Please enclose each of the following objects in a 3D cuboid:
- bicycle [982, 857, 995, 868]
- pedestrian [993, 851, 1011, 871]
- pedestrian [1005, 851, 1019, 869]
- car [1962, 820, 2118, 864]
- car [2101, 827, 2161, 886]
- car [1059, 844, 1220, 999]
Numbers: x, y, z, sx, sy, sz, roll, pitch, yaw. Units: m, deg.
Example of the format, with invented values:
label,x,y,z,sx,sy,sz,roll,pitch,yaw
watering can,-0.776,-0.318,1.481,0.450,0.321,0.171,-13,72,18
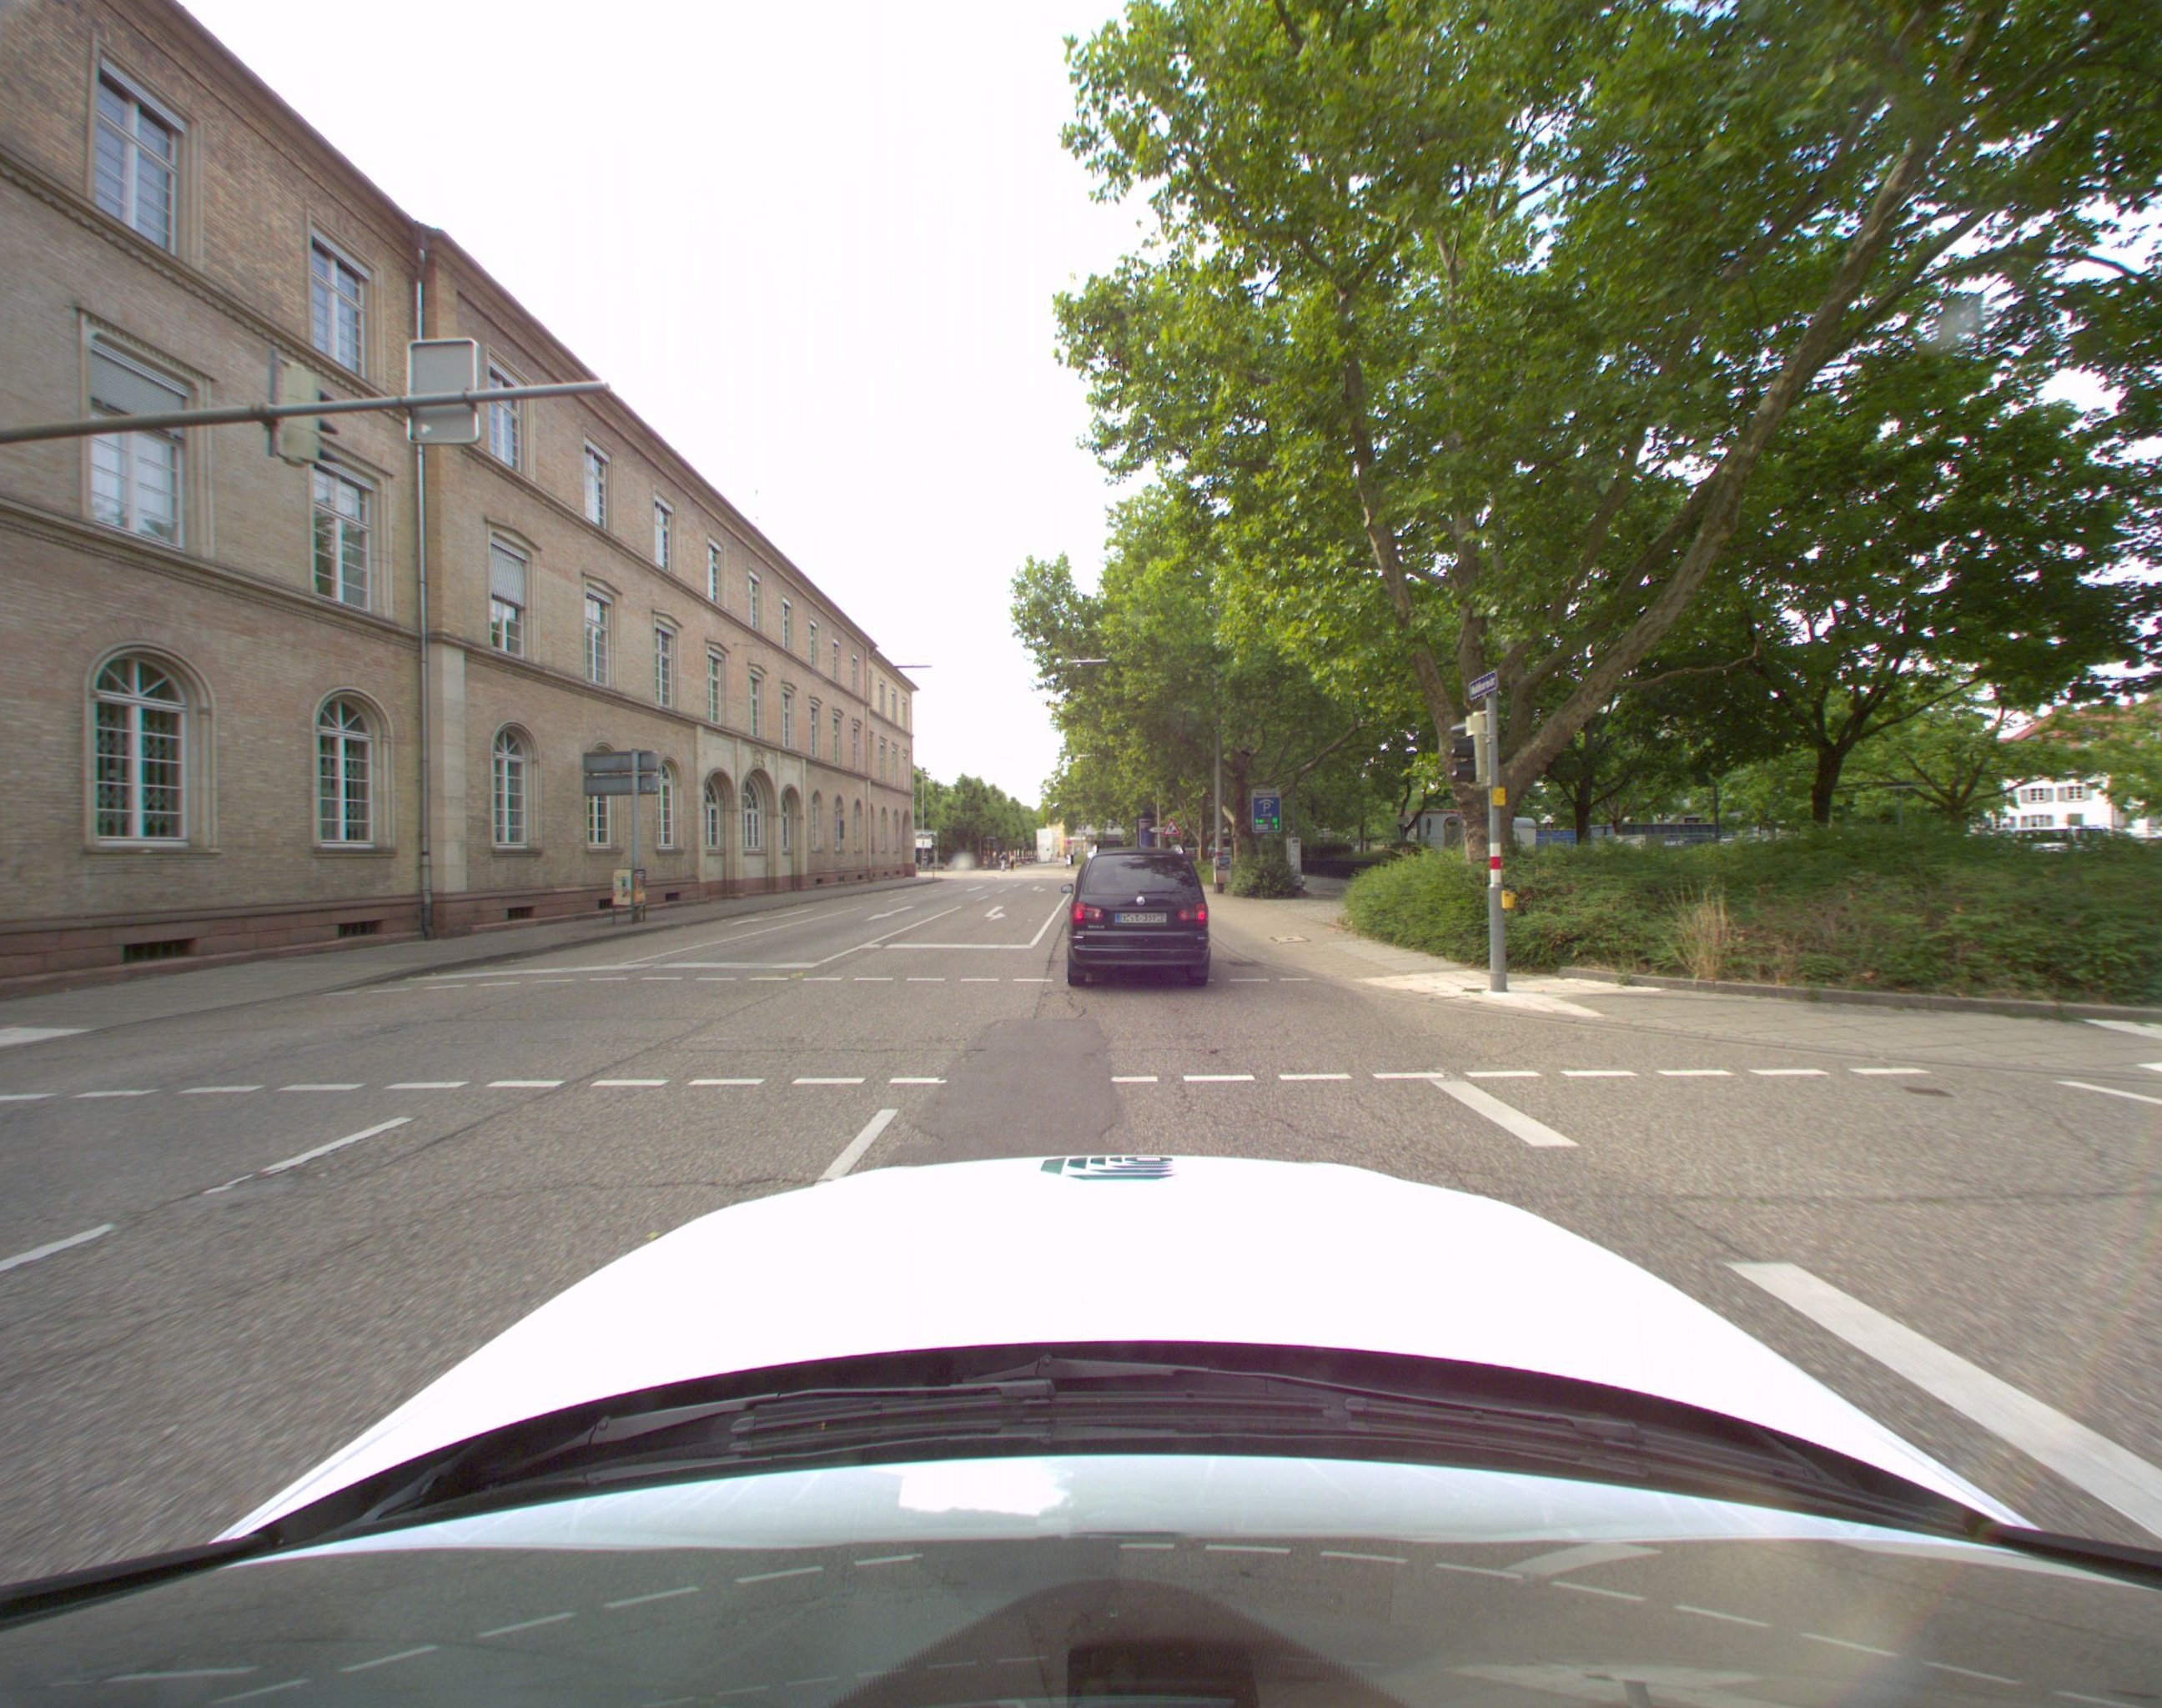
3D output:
label,x,y,z,sx,sy,sz,roll,pitch,yaw
bicycle,-10.532,0.955,92.632,0.954,1.110,2.565,1,0,-16
pedestrian,-6.975,0.580,72.311,0.951,1.741,1.263,1,0,40
pedestrian,-6.091,0.531,72.142,0.887,1.641,0.858,1,0,36
car,47.235,-0.594,40.310,1.989,2.013,4.767,1,0,-3
car,33.891,0.110,23.867,1.988,1.794,4.770,1,0,-2
car,0.694,0.747,11.279,1.787,1.708,4.131,-1,0,1
